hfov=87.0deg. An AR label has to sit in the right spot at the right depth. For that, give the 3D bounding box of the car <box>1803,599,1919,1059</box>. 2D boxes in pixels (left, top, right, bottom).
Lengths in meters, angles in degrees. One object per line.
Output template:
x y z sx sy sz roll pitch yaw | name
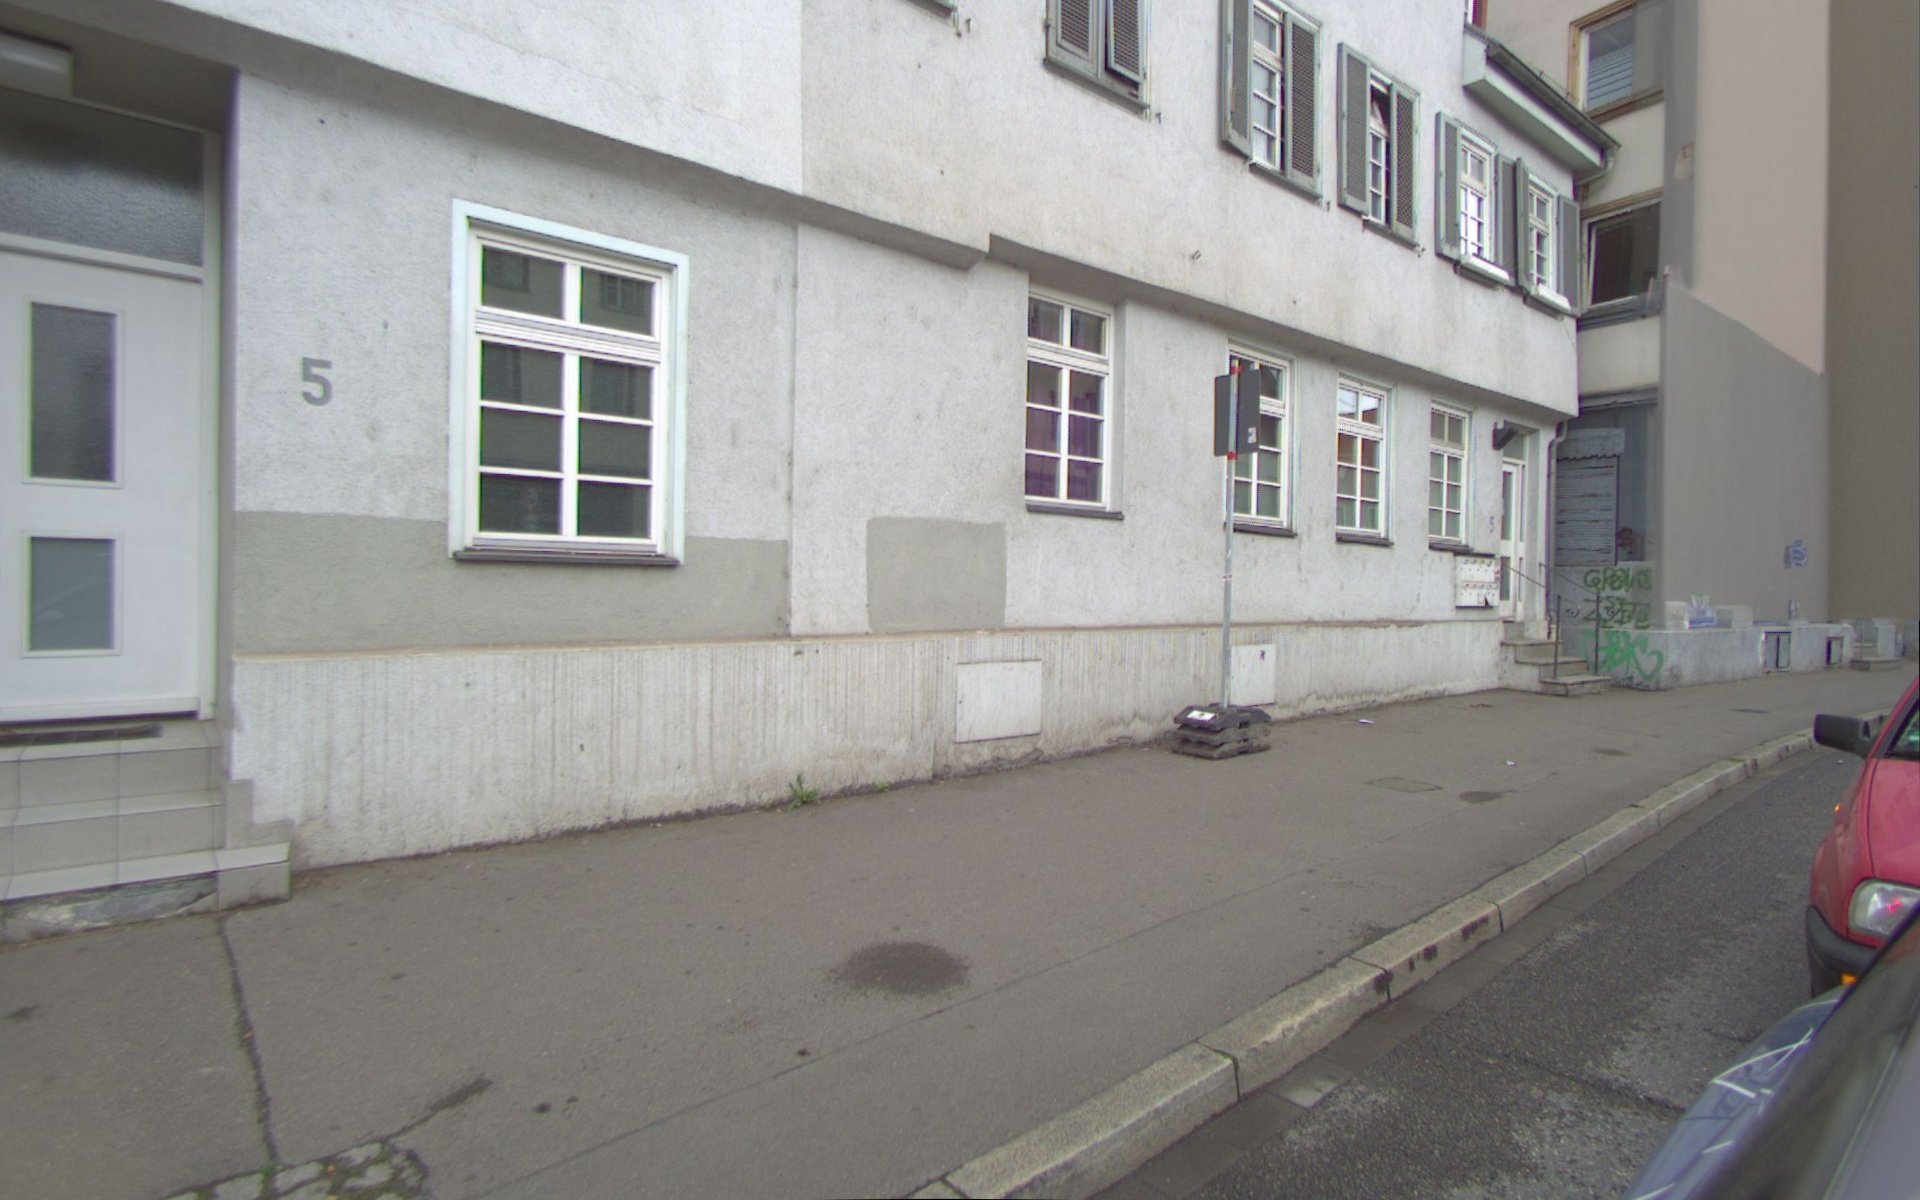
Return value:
4.994 0.737 4.086 3.930 1.485 1.802 0 -2 -41 | car
